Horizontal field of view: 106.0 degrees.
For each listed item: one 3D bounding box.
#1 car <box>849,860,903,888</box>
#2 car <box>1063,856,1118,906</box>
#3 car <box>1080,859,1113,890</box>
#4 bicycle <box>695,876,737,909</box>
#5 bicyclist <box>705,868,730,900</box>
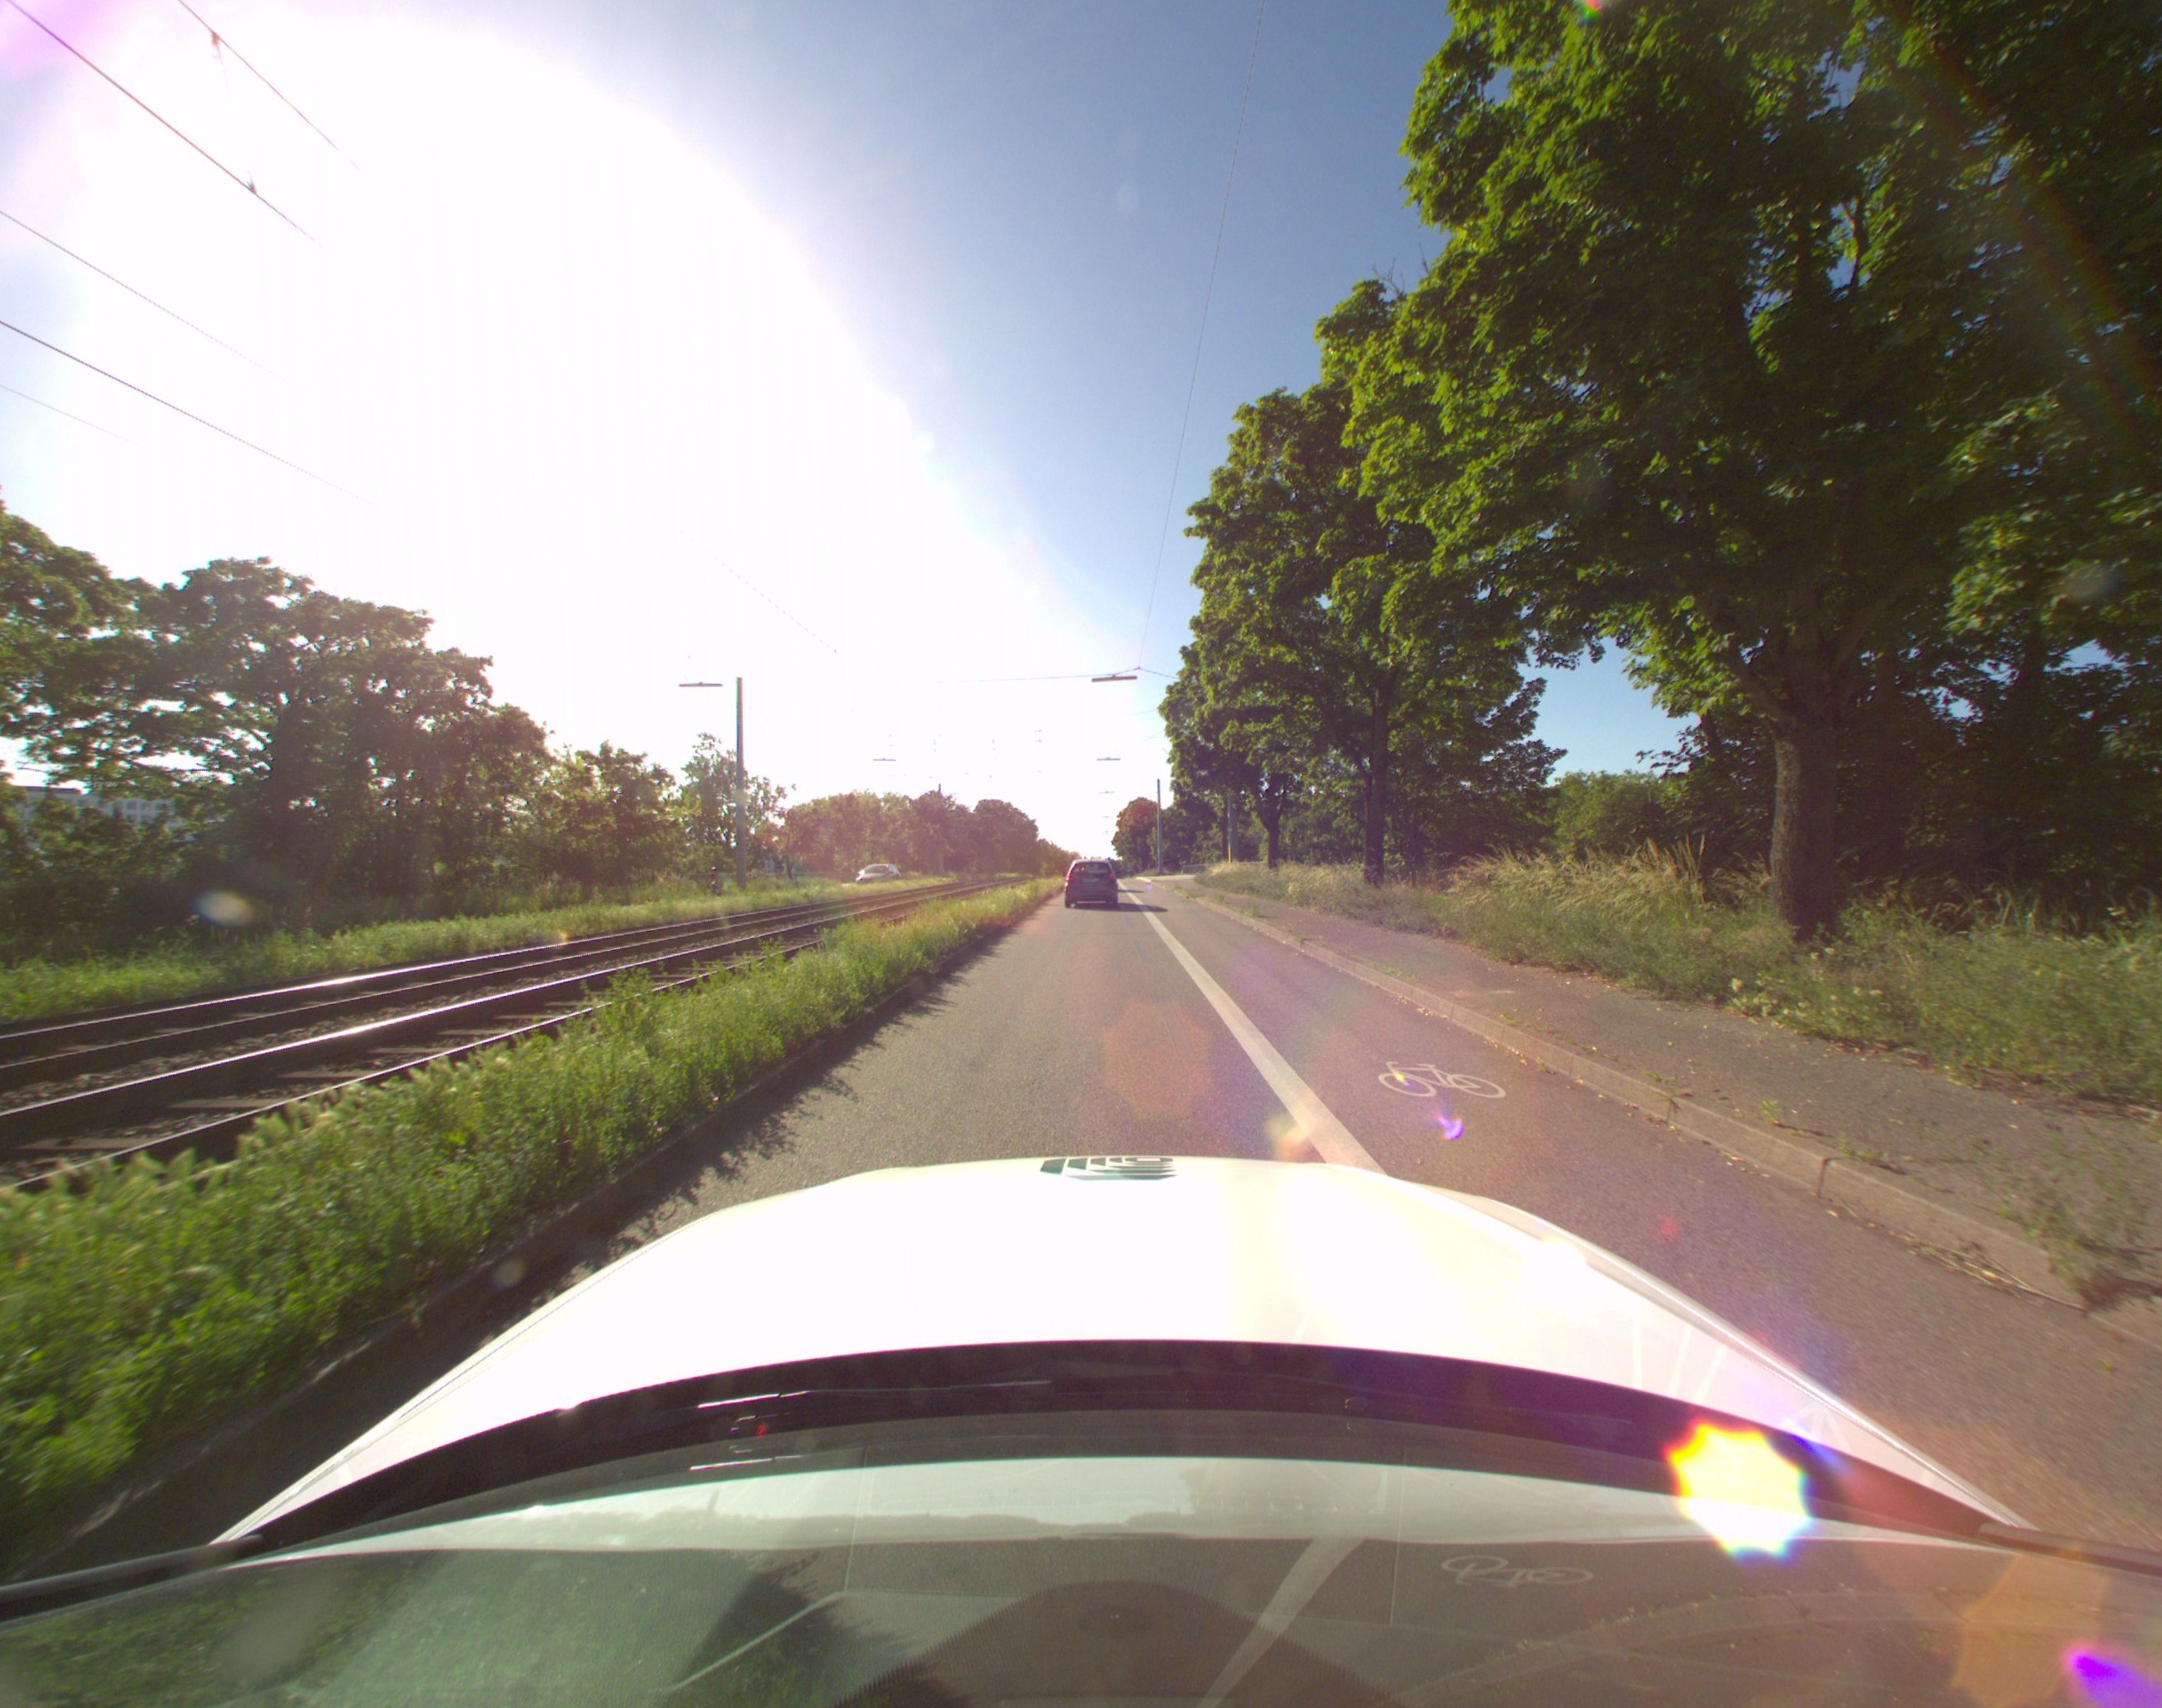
[{"bbox_3d":[-11.801,1.131,47.185,1.802,1.489,4.409,0,0,3],"label":"car"},{"bbox_3d":[0.336,0.835,26.657,1.664,1.507,3.812,0,0,1],"label":"car"},{"bbox_3d":[0.860,1.017,42.635,1.648,1.507,3.813,0,0,2],"label":"car"},{"bbox_3d":[-15.219,1.576,34.040,0.587,1.261,2.428,0,0,2],"label":"bicycle"},{"bbox_3d":[-15.204,1.245,34.110,0.580,1.310,0.988,0,0,2],"label":"bicyclist"}]
